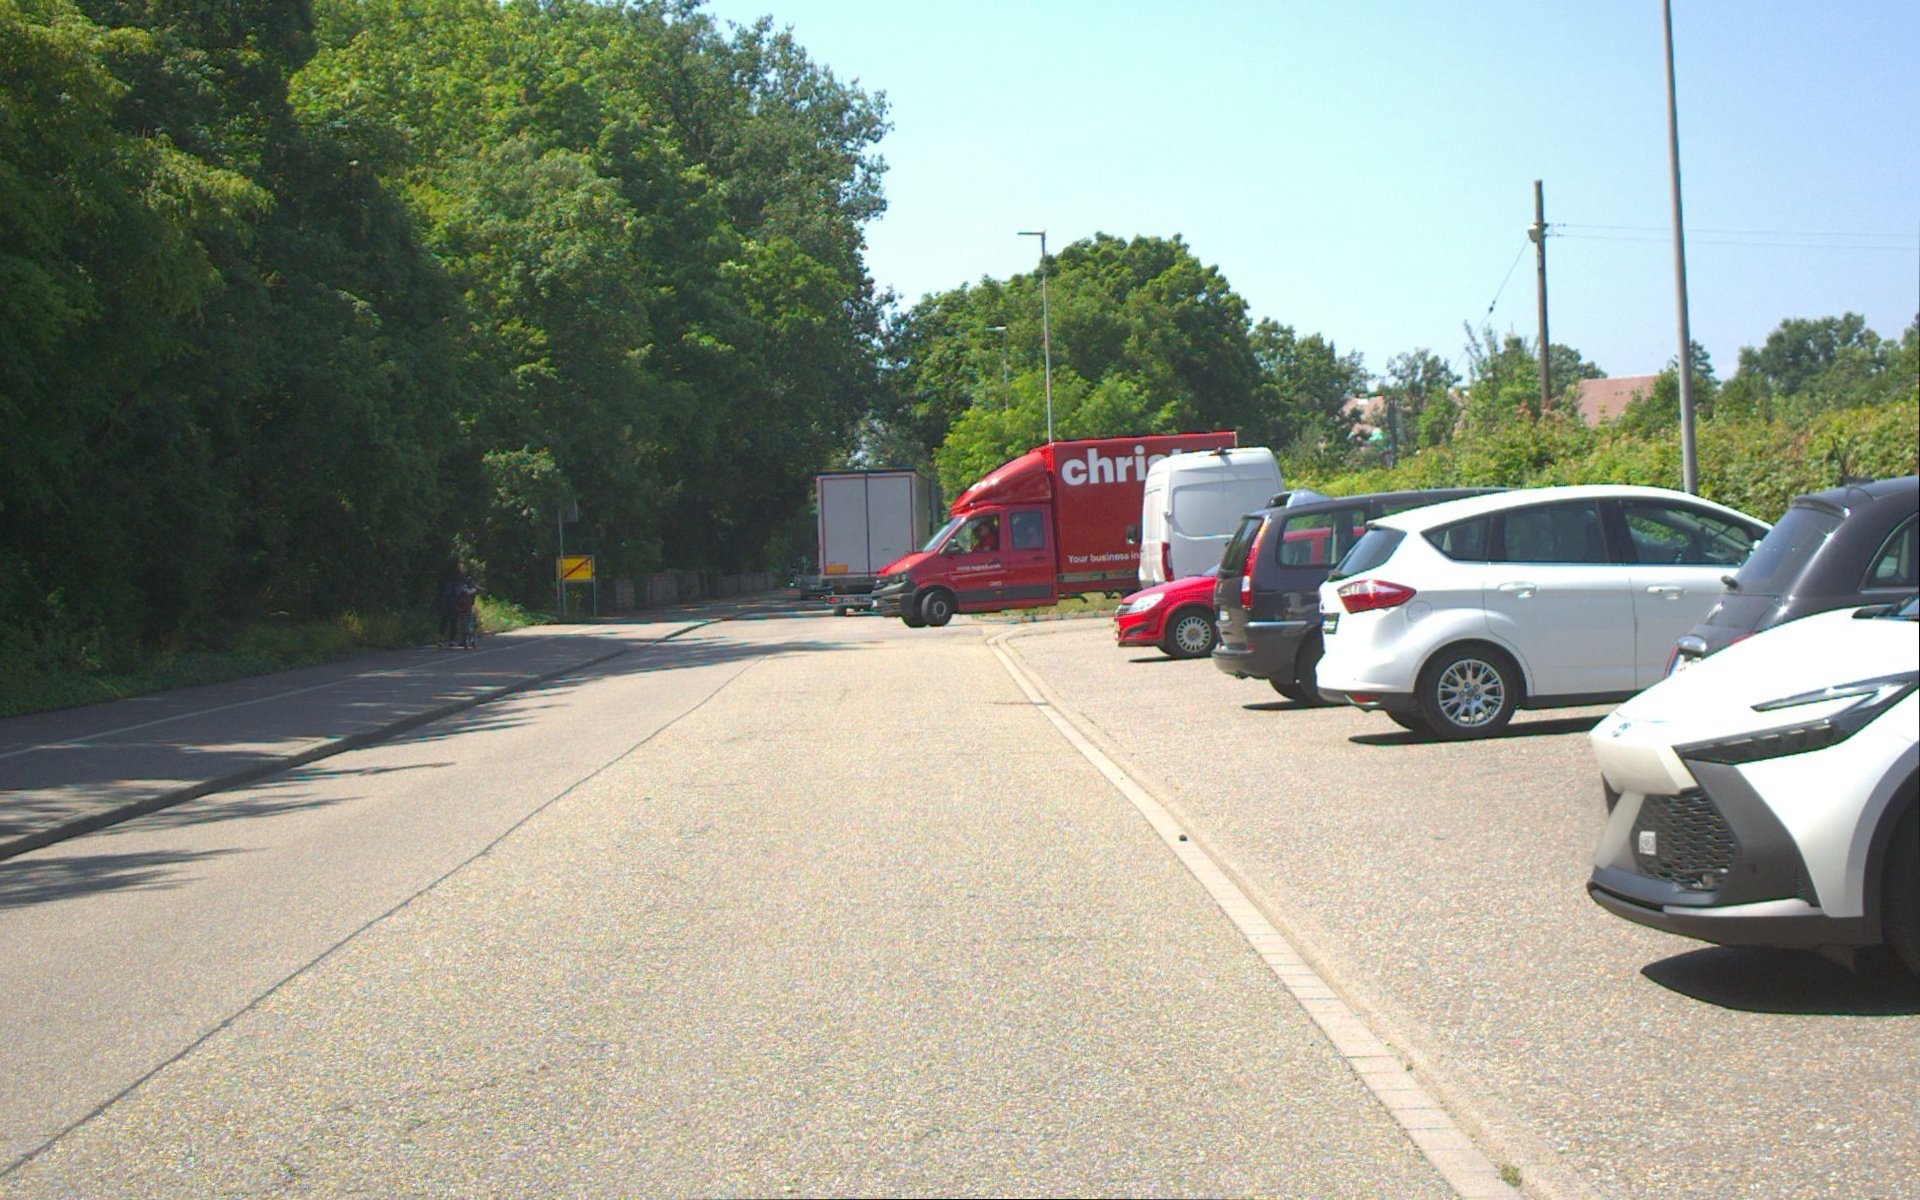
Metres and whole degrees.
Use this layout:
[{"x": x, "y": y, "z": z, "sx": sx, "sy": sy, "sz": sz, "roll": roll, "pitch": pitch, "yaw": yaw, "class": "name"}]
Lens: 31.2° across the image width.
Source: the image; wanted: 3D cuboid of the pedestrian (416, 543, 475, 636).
[{"x": -9.612, "y": -0.194, "z": 64.207, "sx": 0.808, "sy": 1.712, "sz": 0.776, "roll": -1, "pitch": 1, "yaw": 15, "class": "pedestrian"}]

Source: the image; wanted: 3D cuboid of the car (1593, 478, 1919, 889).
[{"x": 4.444, "y": 0.224, "z": 13.983, "sx": 3.388, "sy": 1.498, "sz": 1.588, "roll": -4, "pitch": 1, "yaw": 2, "class": "car"}]

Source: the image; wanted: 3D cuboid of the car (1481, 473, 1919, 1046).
[{"x": 3.879, "y": 0.288, "z": 10.793, "sx": 3.962, "sy": 1.517, "sz": 1.865, "roll": -6, "pitch": 1, "yaw": -6, "class": "car"}]

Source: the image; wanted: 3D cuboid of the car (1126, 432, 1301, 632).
[{"x": 3.799, "y": -1.048, "z": 52.824, "sx": 1.954, "sy": 2.724, "sz": 7.167, "roll": -5, "pitch": 1, "yaw": 0, "class": "car"}]

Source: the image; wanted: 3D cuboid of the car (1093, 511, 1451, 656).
[{"x": 3.803, "y": -0.212, "z": 42.342, "sx": 4.053, "sy": 1.429, "sz": 1.836, "roll": -5, "pitch": 1, "yaw": -4, "class": "car"}]

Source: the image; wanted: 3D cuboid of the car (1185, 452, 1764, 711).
[{"x": 4.344, "y": -0.161, "z": 29.462, "sx": 4.452, "sy": 1.798, "sz": 1.953, "roll": -5, "pitch": 0, "yaw": -5, "class": "car"}]

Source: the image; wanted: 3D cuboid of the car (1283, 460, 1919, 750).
[{"x": 4.491, "y": 0.000, "z": 23.252, "sx": 4.275, "sy": 1.572, "sz": 1.766, "roll": -5, "pitch": 1, "yaw": -3, "class": "car"}]

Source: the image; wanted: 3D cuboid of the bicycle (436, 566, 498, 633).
[{"x": -9.201, "y": -0.009, "z": 64.233, "sx": 0.521, "sy": 1.232, "sz": 1.960, "roll": -1, "pitch": 0, "yaw": 11, "class": "bicycle"}]

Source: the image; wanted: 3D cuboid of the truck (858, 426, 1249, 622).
[{"x": 1.778, "y": -1.500, "z": 66.369, "sx": 7.135, "sy": 3.428, "sz": 2.331, "roll": -3, "pitch": 3, "yaw": -8, "class": "truck"}]

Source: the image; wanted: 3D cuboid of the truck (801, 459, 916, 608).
[{"x": -2.671, "y": -1.778, "z": 94.245, "sx": 2.733, "sy": 3.733, "sz": 13.246, "roll": -1, "pitch": 1, "yaw": 0, "class": "truck"}]

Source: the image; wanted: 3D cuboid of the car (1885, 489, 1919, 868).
[{"x": 4.155, "y": 0.327, "z": 7.944, "sx": 3.452, "sy": 1.522, "sz": 1.540, "roll": -6, "pitch": 1, "yaw": -6, "class": "car"}]
